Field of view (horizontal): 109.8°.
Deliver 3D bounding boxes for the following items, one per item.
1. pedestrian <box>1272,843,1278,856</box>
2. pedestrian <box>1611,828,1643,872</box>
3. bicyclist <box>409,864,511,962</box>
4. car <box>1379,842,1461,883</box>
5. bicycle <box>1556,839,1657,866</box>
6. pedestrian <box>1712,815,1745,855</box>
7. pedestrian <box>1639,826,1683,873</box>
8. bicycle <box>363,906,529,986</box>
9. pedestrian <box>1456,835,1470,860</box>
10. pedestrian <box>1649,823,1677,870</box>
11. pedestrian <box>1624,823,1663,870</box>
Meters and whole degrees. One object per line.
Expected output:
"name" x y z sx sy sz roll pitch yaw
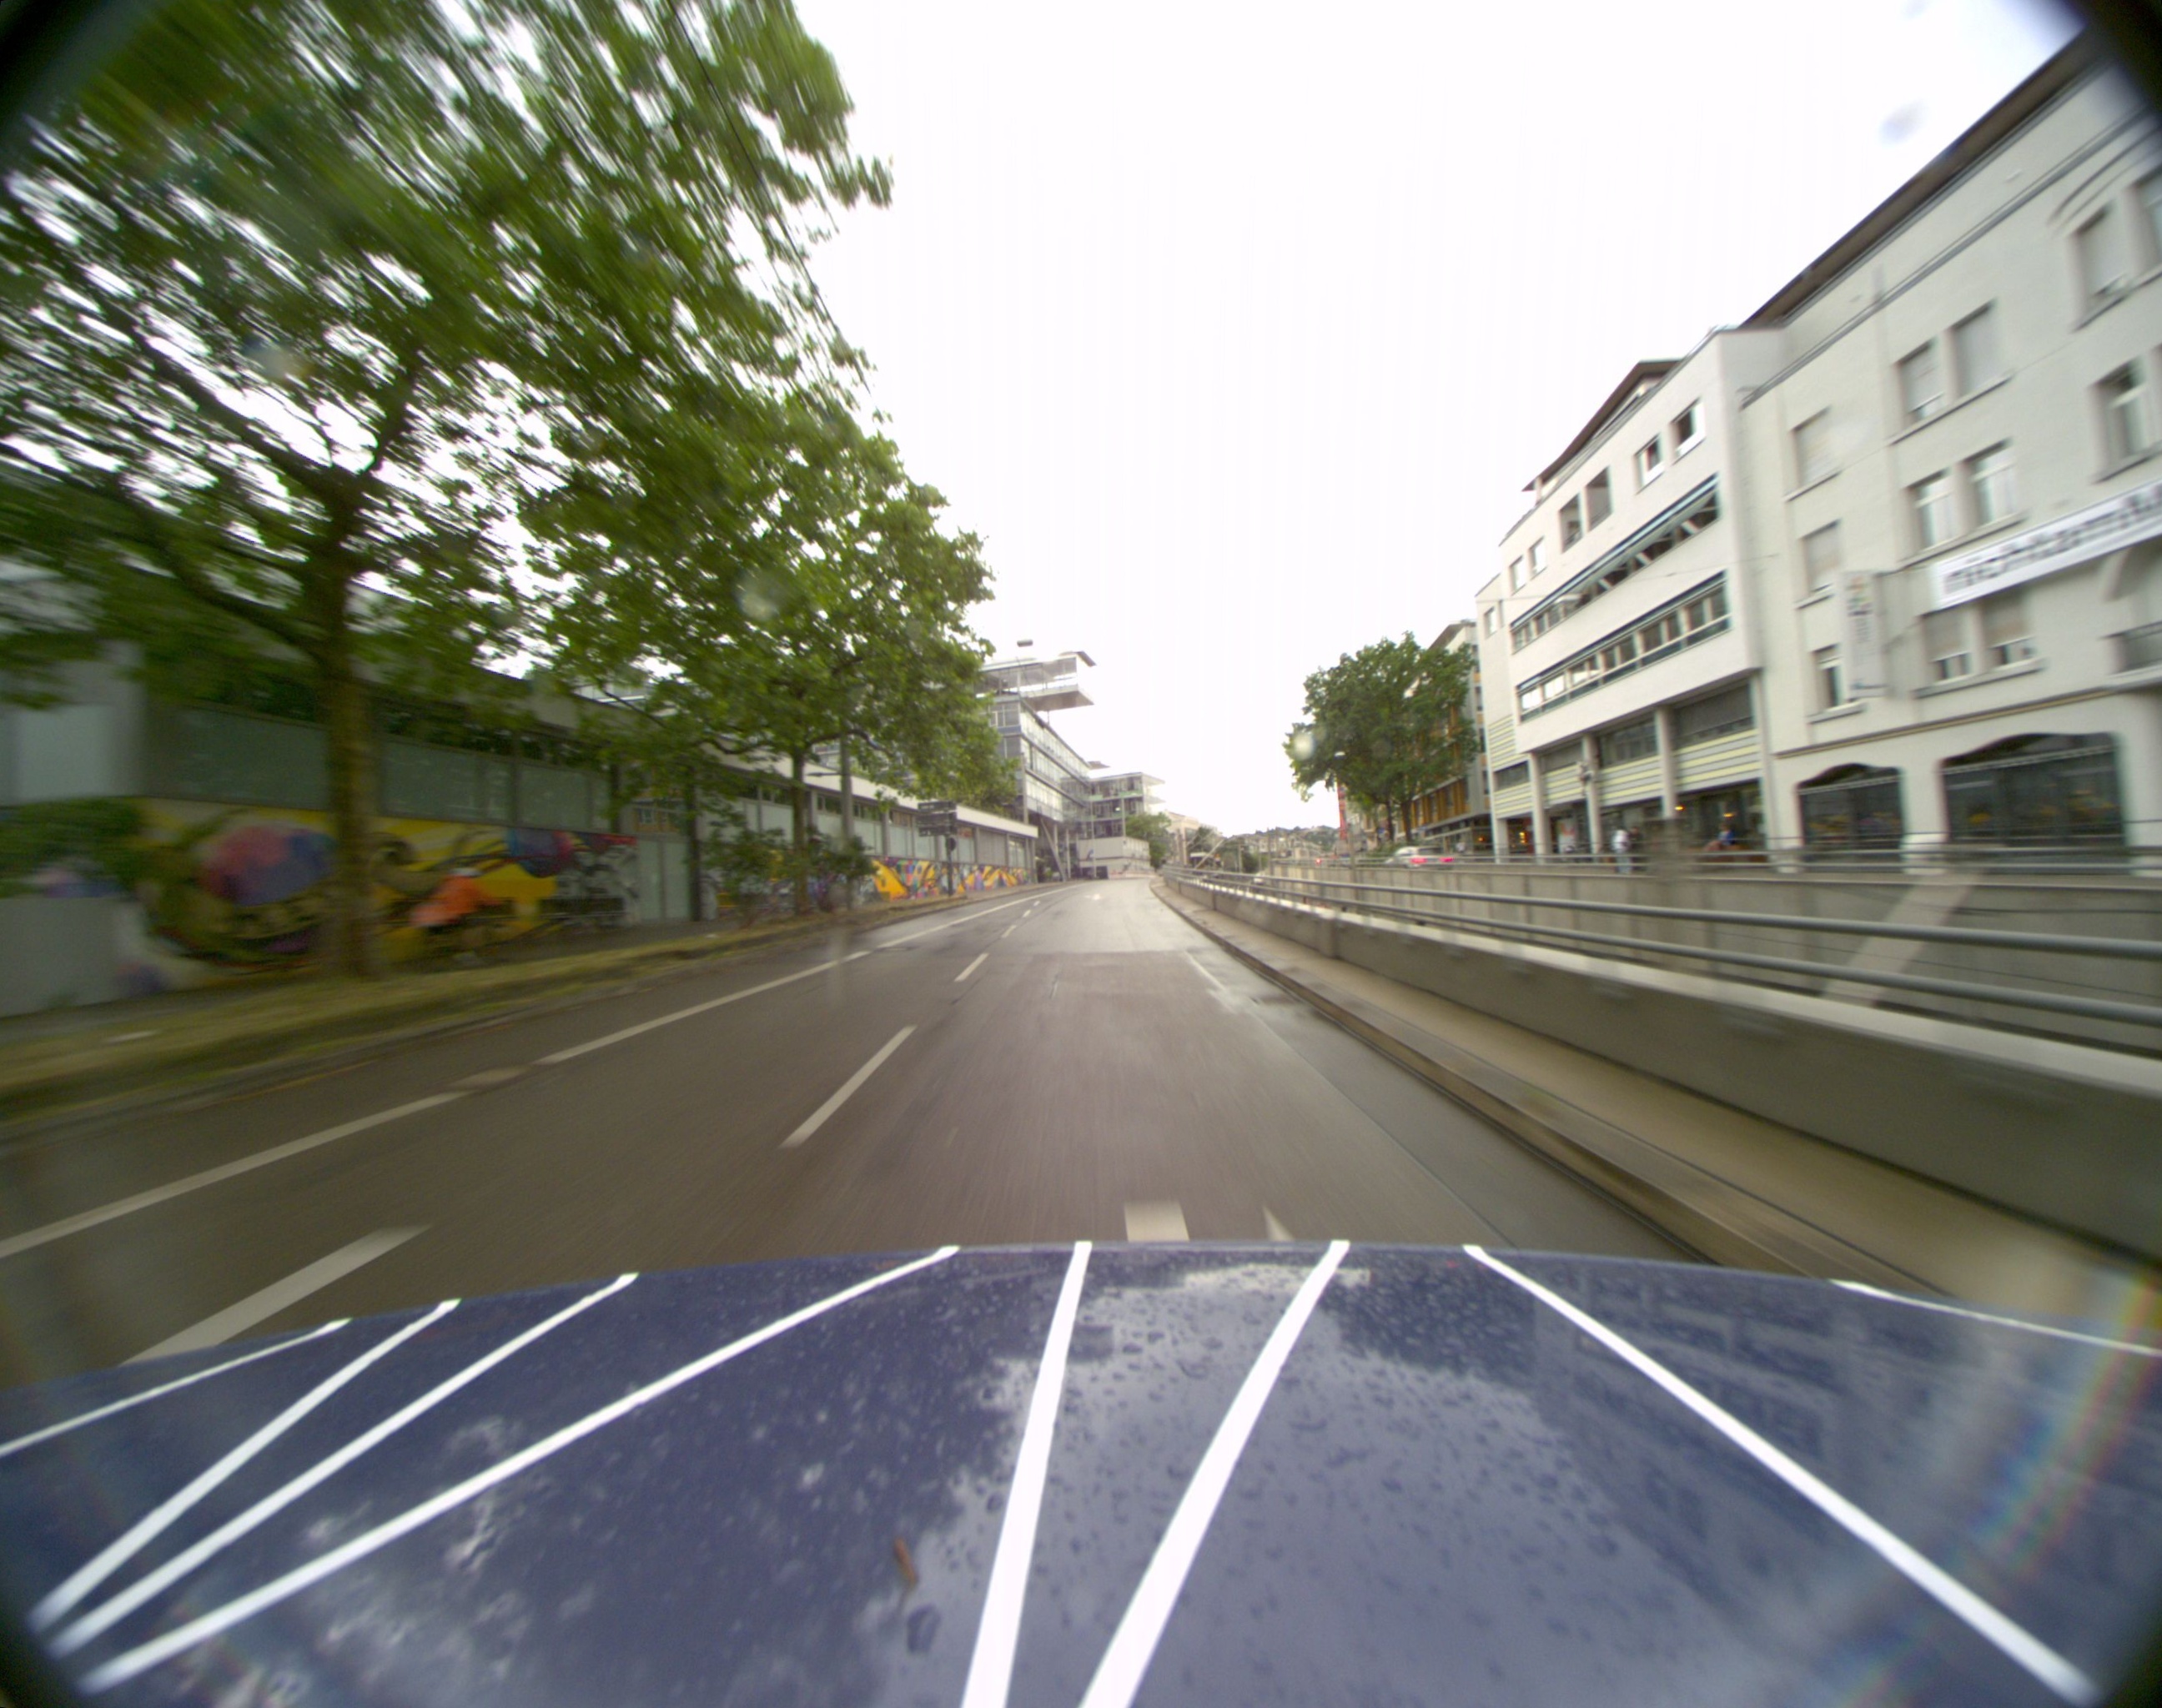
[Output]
"pedestrian" 24.773 -0.576 97.049 0.678 1.639 0.897 1 0 21
"pedestrian" 20.832 -0.159 29.000 0.675 1.633 0.793 -3 -1 -43
"bicyclist" -10.938 1.009 13.419 0.808 1.618 1.047 -3 0 7
"car" 15.776 0.410 35.660 1.841 1.702 4.578 -3 -1 2
"bicycle" 23.581 -0.066 34.336 1.696 1.037 4.523 -3 0 5
"pedestrian" 24.010 -0.702 28.185 0.608 1.410 0.674 -4 -1 5
"pedestrian" 20.751 -0.147 27.185 0.674 1.606 0.941 -3 -1 -14
"bicycle" -10.937 1.546 13.225 0.808 1.105 2.199 -3 0 7
"pedestrian" 28.782 -0.468 57.301 0.666 1.838 0.831 -2 -1 10
"pedestrian" 21.850 -0.285 28.516 0.675 1.711 0.608 -3 -1 -39
"pedestrian" 21.982 -0.288 29.705 0.674 1.774 0.941 -3 -1 -14
